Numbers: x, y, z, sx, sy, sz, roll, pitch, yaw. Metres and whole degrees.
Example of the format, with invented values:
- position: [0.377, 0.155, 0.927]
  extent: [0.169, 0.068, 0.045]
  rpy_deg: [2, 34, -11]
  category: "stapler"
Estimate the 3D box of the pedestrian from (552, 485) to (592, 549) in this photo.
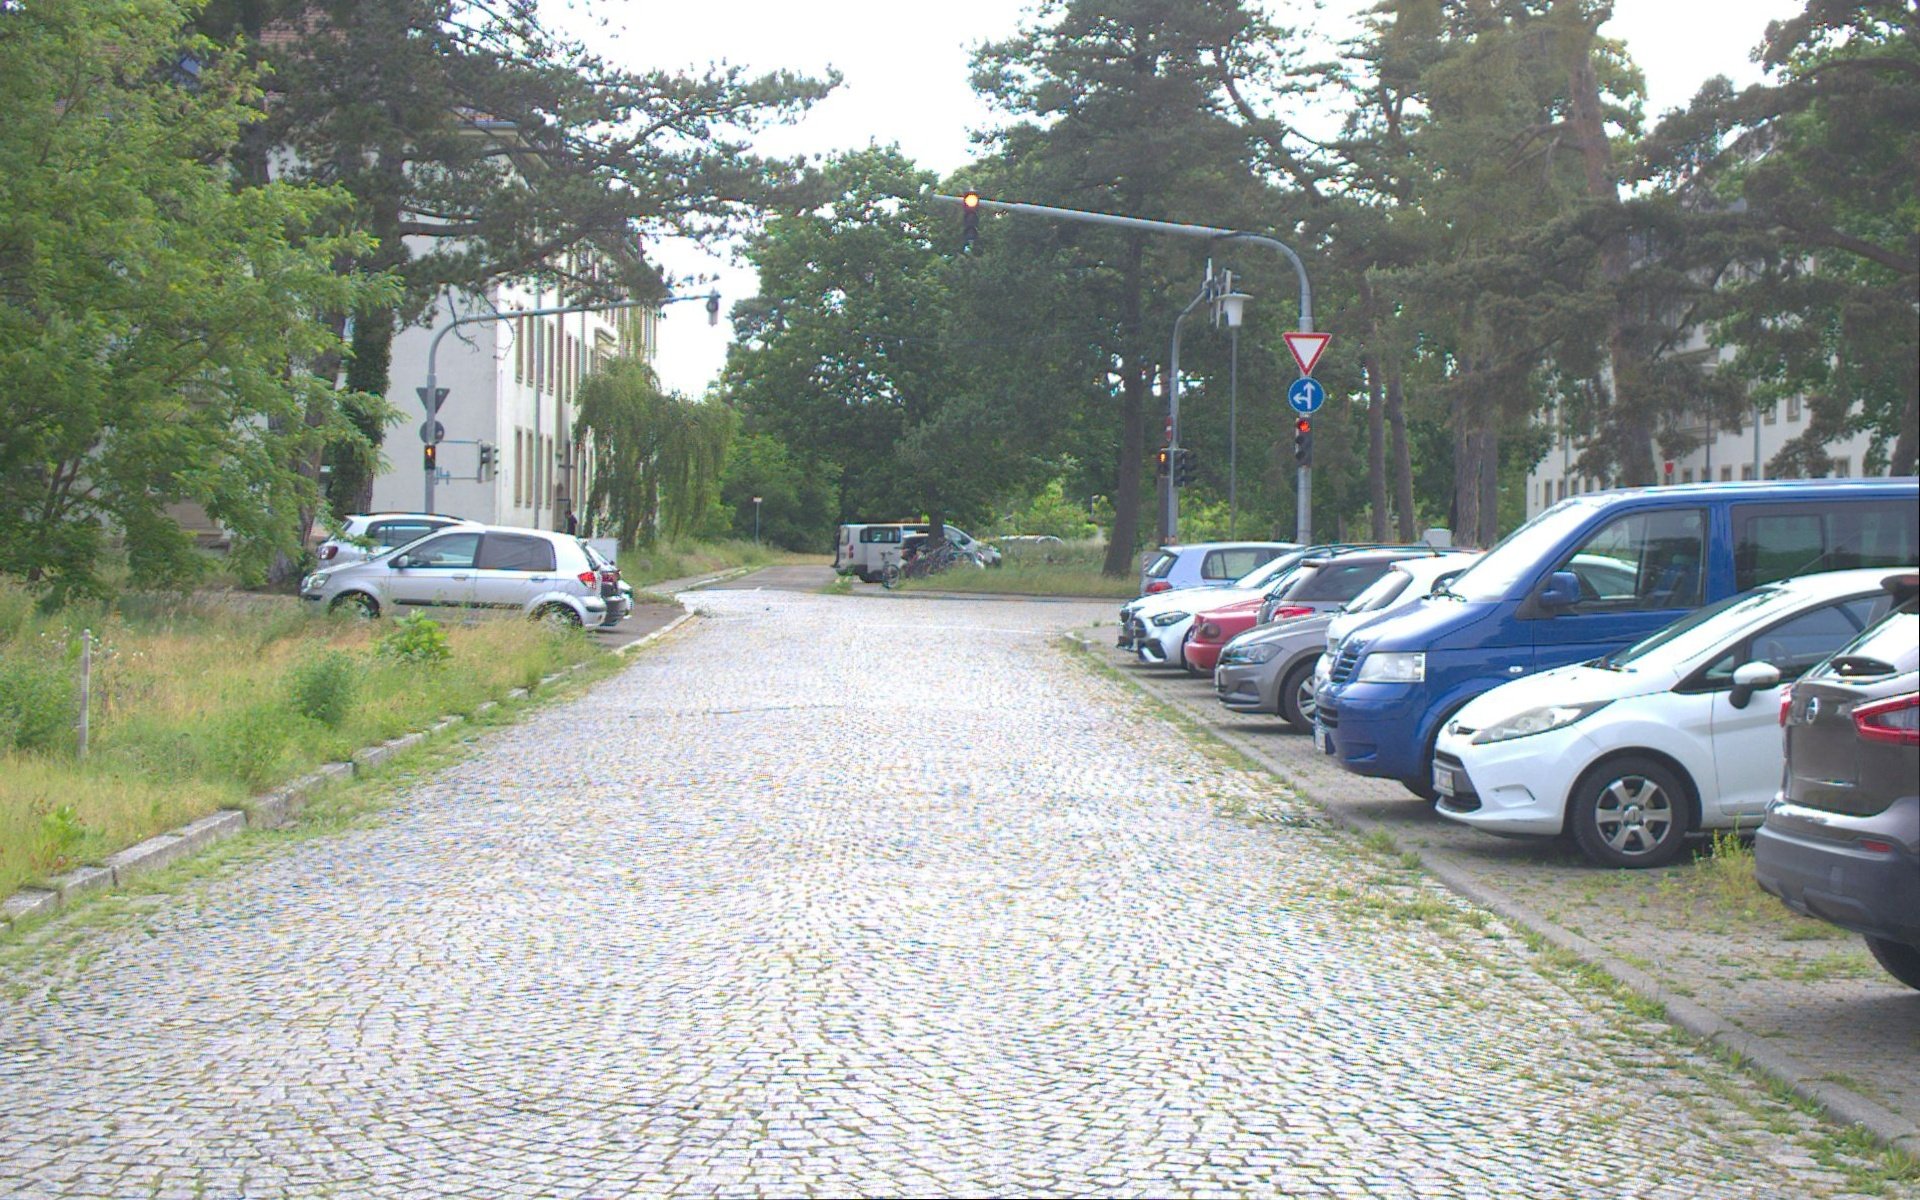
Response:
- position: [-12.237, -2.612, 108.490]
  extent: [1.074, 1.952, 1.121]
  rpy_deg: [2, 1, -1]
  category: "pedestrian"

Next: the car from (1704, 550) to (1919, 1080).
- position: [4.838, 0.640, 11.528]
  extent: [4.203, 1.589, 1.953]
  rpy_deg: [0, 1, -3]
  category: "car"

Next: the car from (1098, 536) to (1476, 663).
- position: [3.932, -0.026, 41.593]
  extent: [4.227, 1.474, 1.710]
  rpy_deg: [0, 1, -12]
  category: "car"

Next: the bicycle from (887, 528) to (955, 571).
- position: [-1.129, -1.469, 99.676]
  extent: [1.881, 1.167, 0.665]
  rpy_deg: [2, 1, -6]
  category: "bicycle"

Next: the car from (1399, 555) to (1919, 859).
- position: [4.483, 0.516, 17.879]
  extent: [4.097, 1.473, 1.722]
  rpy_deg: [0, 1, -4]
  category: "car"

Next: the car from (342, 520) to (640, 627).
- position: [-6.921, -0.404, 50.895]
  extent: [4.297, 1.548, 1.812]
  rpy_deg: [0, 1, -7]
  category: "car"

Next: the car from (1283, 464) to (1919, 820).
- position: [4.450, 0.212, 20.418]
  extent: [4.795, 1.997, 1.967]
  rpy_deg: [0, 1, -3]
  category: "car"

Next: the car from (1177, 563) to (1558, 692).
- position: [3.996, 0.254, 34.125]
  extent: [3.586, 1.218, 1.628]
  rpy_deg: [0, 1, 0]
  category: "car"

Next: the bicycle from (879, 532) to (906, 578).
- position: [-1.796, -1.201, 91.536]
  extent: [0.663, 1.167, 1.888]
  rpy_deg: [2, 1, -1]
  category: "bicycle"

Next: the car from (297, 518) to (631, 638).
- position: [-6.553, -0.309, 45.641]
  extent: [4.297, 1.548, 1.812]
  rpy_deg: [0, 1, -7]
  category: "car"

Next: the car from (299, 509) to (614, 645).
- position: [-6.264, -0.302, 43.048]
  extent: [3.720, 1.475, 1.673]
  rpy_deg: [3, 1, -4]
  category: "car"

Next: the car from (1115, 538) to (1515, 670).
- position: [3.978, 0.025, 38.827]
  extent: [4.184, 1.432, 1.756]
  rpy_deg: [0, 1, -8]
  category: "car"

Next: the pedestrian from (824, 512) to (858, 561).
- position: [-4.864, -2.616, 140.883]
  extent: [1.239, 1.952, 1.121]
  rpy_deg: [2, 1, -6]
  category: "pedestrian"

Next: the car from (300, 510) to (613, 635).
- position: [-7.051, -0.398, 48.438]
  extent: [4.297, 1.726, 1.653]
  rpy_deg: [0, 1, -6]
  category: "car"

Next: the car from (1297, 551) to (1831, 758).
- position: [4.454, 0.380, 25.733]
  extent: [3.653, 1.473, 1.766]
  rpy_deg: [0, 1, -1]
  category: "car"

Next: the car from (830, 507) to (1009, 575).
- position: [-1.317, -1.916, 110.977]
  extent: [5.374, 2.094, 2.179]
  rpy_deg: [1, 1, -13]
  category: "car"

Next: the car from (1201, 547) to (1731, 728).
- position: [4.148, 0.290, 28.633]
  extent: [4.130, 1.442, 1.766]
  rpy_deg: [0, 1, -1]
  category: "car"

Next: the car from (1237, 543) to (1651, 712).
- position: [4.383, 0.231, 31.504]
  extent: [3.505, 1.482, 1.743]
  rpy_deg: [0, 1, -1]
  category: "car"

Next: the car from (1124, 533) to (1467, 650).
- position: [4.278, -0.125, 44.151]
  extent: [4.134, 1.458, 1.634]
  rpy_deg: [0, 1, -6]
  category: "car"

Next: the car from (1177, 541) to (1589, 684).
- position: [4.444, 0.116, 36.473]
  extent: [4.104, 1.471, 1.685]
  rpy_deg: [0, 1, -3]
  category: "car"
